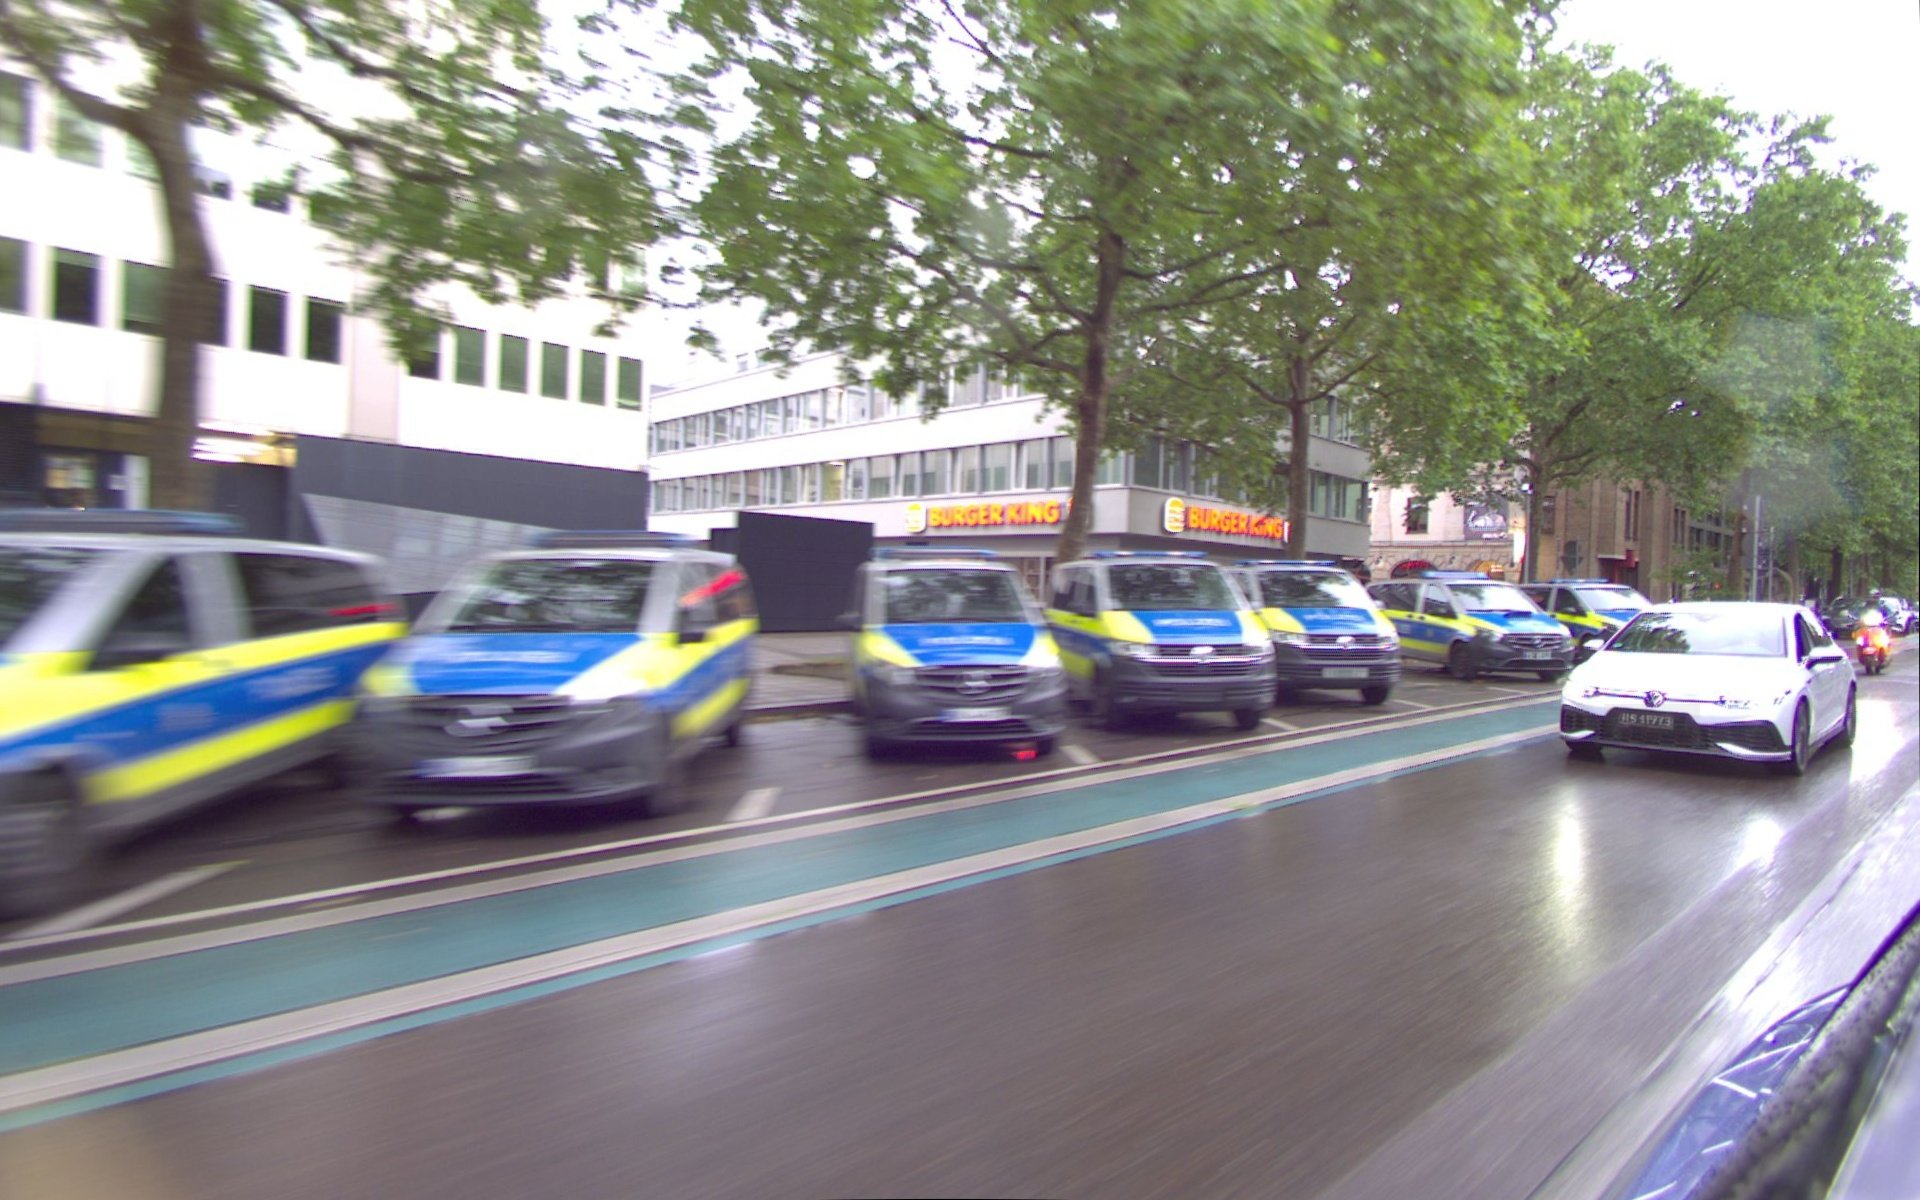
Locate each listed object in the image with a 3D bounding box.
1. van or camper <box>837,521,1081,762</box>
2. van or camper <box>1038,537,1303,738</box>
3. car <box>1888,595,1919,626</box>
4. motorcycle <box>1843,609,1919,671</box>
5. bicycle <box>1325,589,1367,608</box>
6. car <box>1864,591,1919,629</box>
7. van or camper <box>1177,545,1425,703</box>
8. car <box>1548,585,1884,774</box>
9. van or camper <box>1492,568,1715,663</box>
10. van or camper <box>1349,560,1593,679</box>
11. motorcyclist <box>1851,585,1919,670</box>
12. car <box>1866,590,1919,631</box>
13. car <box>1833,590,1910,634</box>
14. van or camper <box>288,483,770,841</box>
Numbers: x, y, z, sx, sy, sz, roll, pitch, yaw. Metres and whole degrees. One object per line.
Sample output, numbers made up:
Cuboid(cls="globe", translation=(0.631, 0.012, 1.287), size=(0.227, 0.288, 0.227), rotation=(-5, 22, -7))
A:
Cuboid(cls="van or camper", translation=(-0.296, 0.298, 11.082), size=(1.959, 2.020, 5.033), rotation=(0, 1, -8))
Cuboid(cls="van or camper", translation=(2.336, 0.337, 12.682), size=(1.960, 2.036, 4.800), rotation=(0, 1, -5))
Cuboid(cls="car", translation=(46.669, 0.470, 49.245), size=(4.505, 1.451, 1.745), rotation=(0, 0, -41))
Cuboid(cls="motorcycle", translation=(18.633, 0.780, 20.430), size=(0.862, 1.157, 1.999), rotation=(1, 0, 31))
Cuboid(cls="bicycle", translation=(19.600, -0.096, 51.431), size=(0.613, 0.949, 1.972), rotation=(0, 0, -36))
Cuboid(cls="car", translation=(42.496, 0.424, 45.823), size=(4.484, 1.609, 1.995), rotation=(0, 1, -43))
Cuboid(cls="van or camper", translation=(4.927, 0.278, 15.471), size=(1.831, 2.023, 4.859), rotation=(0, 1, -4))
Cuboid(cls="car", translation=(7.627, 0.596, 10.033), size=(4.432, 1.463, 1.864), rotation=(0, 1, -42))
Cuboid(cls="van or camper", translation=(15.089, 0.308, 24.155), size=(1.963, 2.017, 4.950), rotation=(0, 0, -3))
Cuboid(cls="van or camper", translation=(9.864, 0.335, 20.134), size=(1.957, 2.045, 5.092), rotation=(0, 0, -4))
Cuboid(cls="motorcyclist", translation=(18.588, 0.527, 20.354), size=(0.842, 1.665, 0.862), rotation=(0, 0, 31))
Cuboid(cls="car", translation=(39.063, 0.409, 42.185), size=(1.752, 1.605, 4.339), rotation=(0, 0, 44))
Cuboid(cls="car", translation=(35.121, 0.429, 38.954), size=(4.348, 1.623, 1.795), rotation=(0, 0, -42))
Cuboid(cls="van or camper", translation=(-2.955, 0.324, 8.390), size=(2.064, 2.050, 5.112), rotation=(1, 1, -3))
